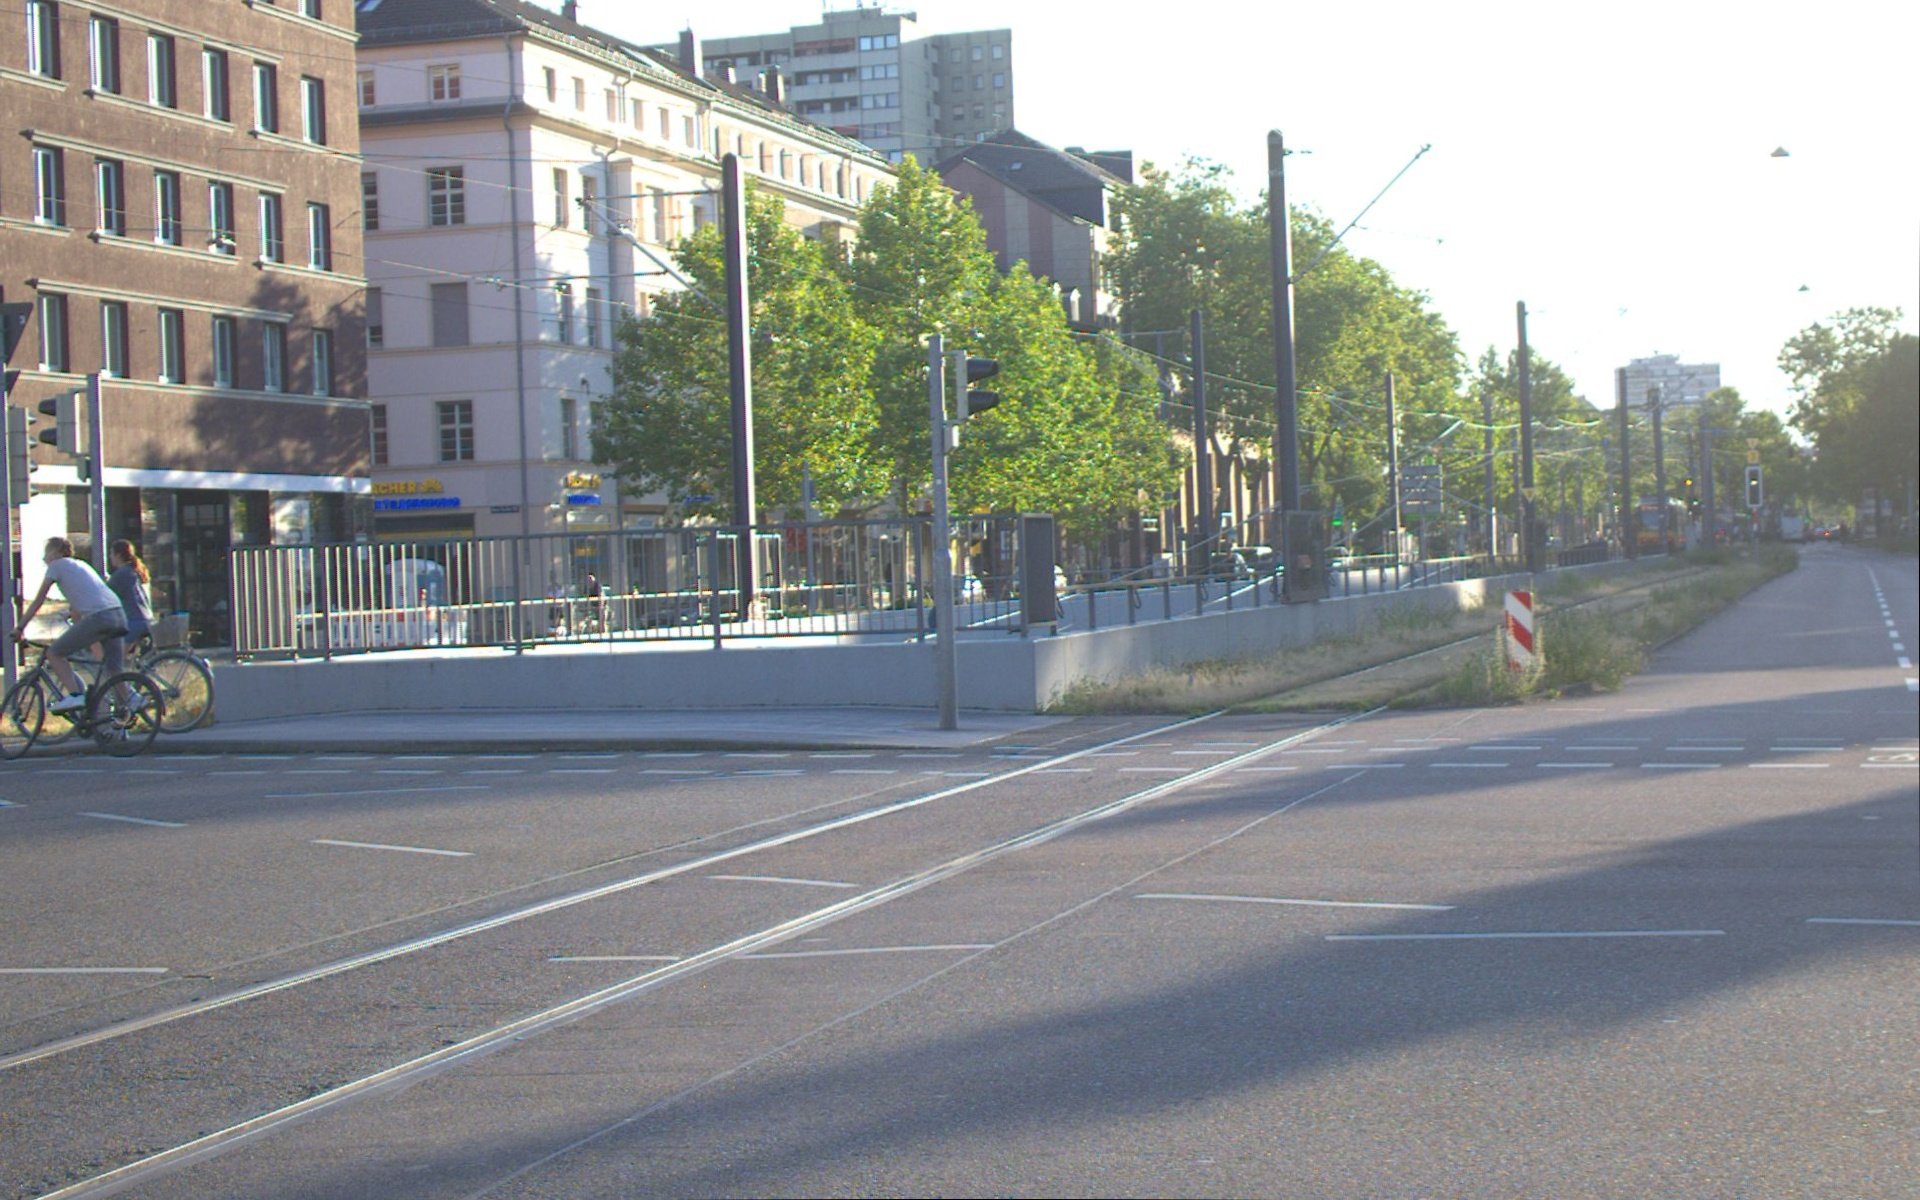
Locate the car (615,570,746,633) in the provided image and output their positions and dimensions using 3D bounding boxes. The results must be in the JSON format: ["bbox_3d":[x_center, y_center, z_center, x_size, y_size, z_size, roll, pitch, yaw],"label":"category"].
[{"bbox_3d":[-7.025,0.026,86.830,1.821,1.415,3.997,-2,1,19],"label":"car"}]

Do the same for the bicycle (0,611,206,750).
[{"bbox_3d":[-7.275,0.668,28.435,1.901,1.071,0.632,-2,1,-1],"label":"bicycle"}]

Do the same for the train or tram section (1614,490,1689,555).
[{"bbox_3d":[43.444,-4.848,216.188,4.388,3.837,11.405,-2,1,11],"label":"train or tram section"}]

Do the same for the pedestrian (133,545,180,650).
[{"bbox_3d":[-16.931,-0.059,72.448,0.602,2.170,0.791,-2,1,15],"label":"pedestrian"}]

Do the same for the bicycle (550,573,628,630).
[{"bbox_3d":[-8.309,0.020,77.058,0.813,1.197,2.410,-2,1,17],"label":"bicycle"}]

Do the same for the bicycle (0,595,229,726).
[{"bbox_3d":[-7.637,0.533,30.472,2.164,1.080,0.539,-2,1,-2],"label":"bicycle"}]

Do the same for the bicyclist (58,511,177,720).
[{"bbox_3d":[-7.462,0.132,30.474,0.876,1.812,0.538,-2,1,-2],"label":"bicyclist"}]

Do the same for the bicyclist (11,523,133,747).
[{"bbox_3d":[-7.335,0.281,28.414,0.793,1.812,0.646,-2,1,-2],"label":"bicyclist"}]

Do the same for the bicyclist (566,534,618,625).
[{"bbox_3d":[-8.257,-0.471,77.232,0.797,2.007,0.923,-2,1,17],"label":"bicyclist"}]
